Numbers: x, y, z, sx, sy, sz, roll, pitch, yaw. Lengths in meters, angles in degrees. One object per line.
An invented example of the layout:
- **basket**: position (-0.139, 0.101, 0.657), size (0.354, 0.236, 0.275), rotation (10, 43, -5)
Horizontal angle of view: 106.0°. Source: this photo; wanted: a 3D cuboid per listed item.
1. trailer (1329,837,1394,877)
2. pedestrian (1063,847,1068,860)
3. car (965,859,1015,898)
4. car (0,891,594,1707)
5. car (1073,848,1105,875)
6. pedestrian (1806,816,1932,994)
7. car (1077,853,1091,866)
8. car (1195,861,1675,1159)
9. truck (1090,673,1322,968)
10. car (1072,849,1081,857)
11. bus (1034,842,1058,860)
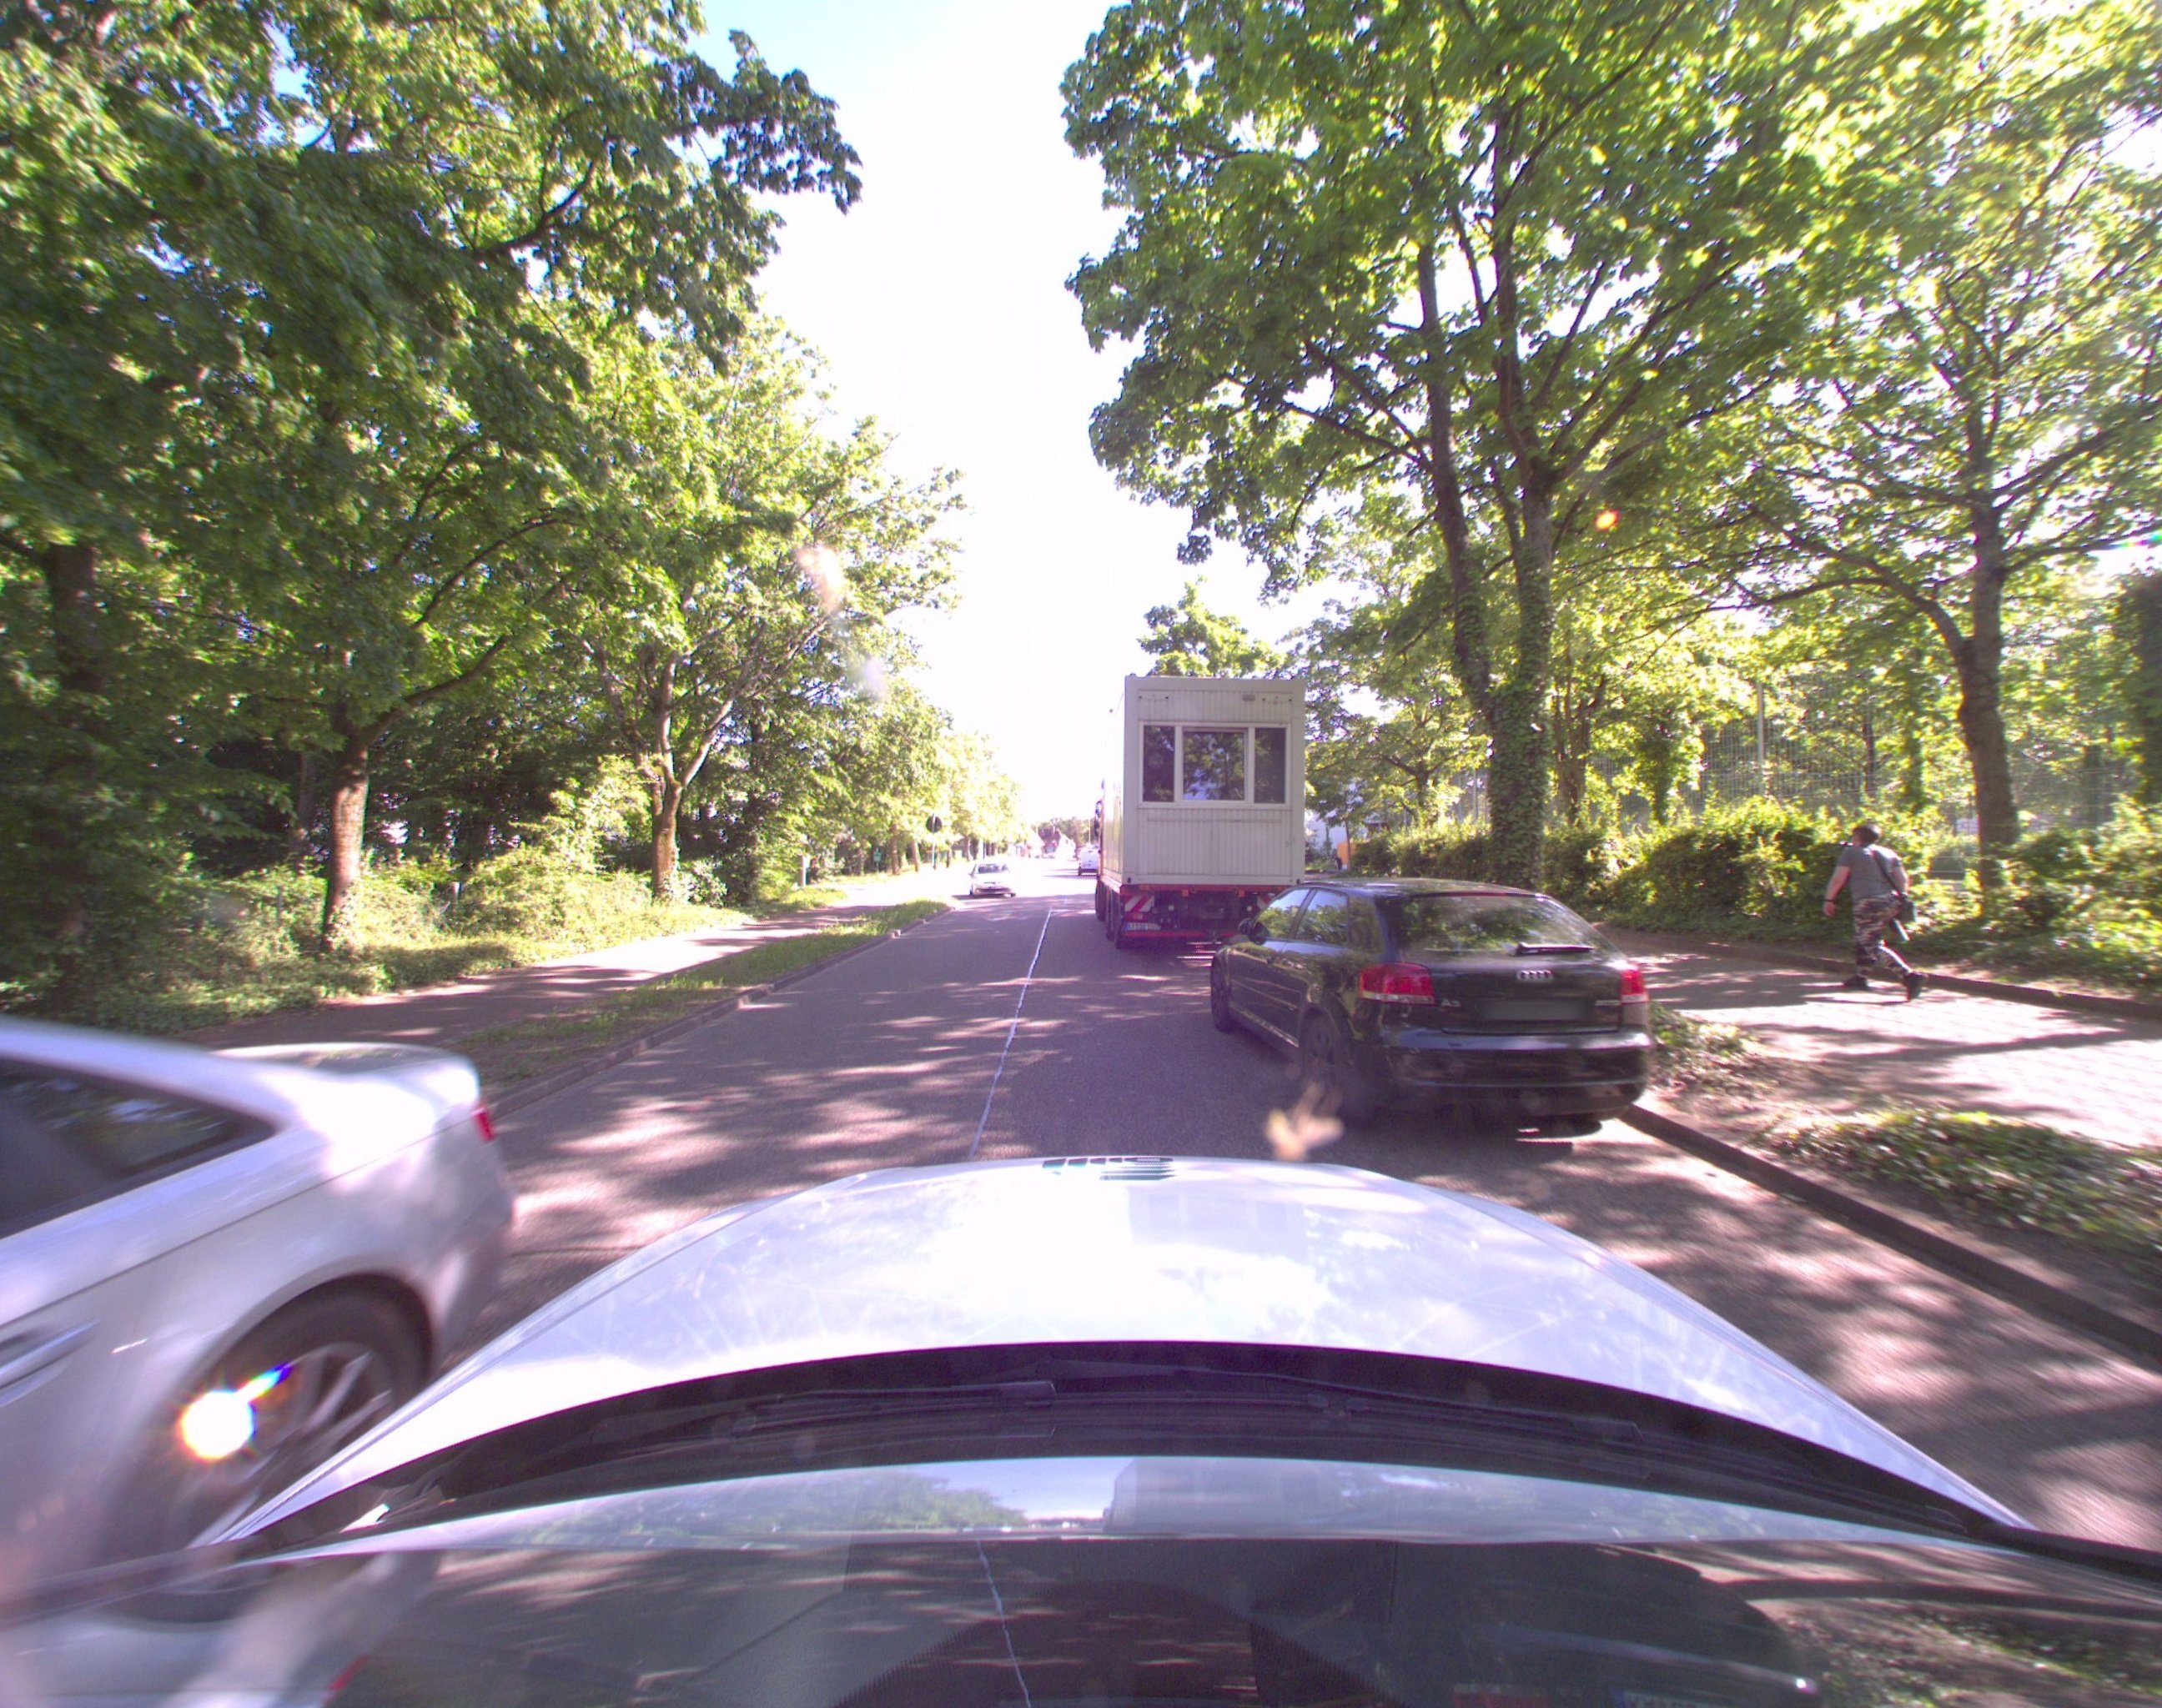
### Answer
- **trailer**: position (15.366, 0.172, 44.700), size (2.936, 2.116, 1.609), rotation (-1, 0, -3)
- **pedestrian**: position (-2.512, -0.086, 129.919), size (0.749, 2.113, 0.799), rotation (1, 0, 2)
- **car**: position (-3.818, 0.974, 33.717), size (1.805, 1.420, 3.947), rotation (-3, 0, -9)
- **car**: position (-2.445, 0.870, 0.470), size (1.781, 1.416, 4.104), rotation (-2, 0, 0)
- **car**: position (0.527, 0.522, 58.015), size (1.943, 1.843, 3.994), rotation (-1, 0, -4)
- **pedestrian**: position (7.473, 0.463, 7.754), size (0.568, 1.608, 0.673), rotation (-1, 0, 8)
- **car**: position (0.375, 0.733, 109.664), size (1.776, 1.652, 3.997), rotation (-2, 0, -2)
- **car**: position (2.065, 0.781, 6.057), size (1.637, 1.420, 3.994), rotation (0, 0, -4)
- **truck**: position (1.768, -0.464, 16.260), size (2.765, 3.996, 10.341), rotation (0, 0, -2)
- **car**: position (-1.045, -0.211, 180.252), size (1.776, 1.808, 3.997), rotation (-2, 0, -2)
- **bus**: position (-6.811, -0.601, 161.024), size (4.050, 3.349, 9.803), rotation (-2, 0, 1)
